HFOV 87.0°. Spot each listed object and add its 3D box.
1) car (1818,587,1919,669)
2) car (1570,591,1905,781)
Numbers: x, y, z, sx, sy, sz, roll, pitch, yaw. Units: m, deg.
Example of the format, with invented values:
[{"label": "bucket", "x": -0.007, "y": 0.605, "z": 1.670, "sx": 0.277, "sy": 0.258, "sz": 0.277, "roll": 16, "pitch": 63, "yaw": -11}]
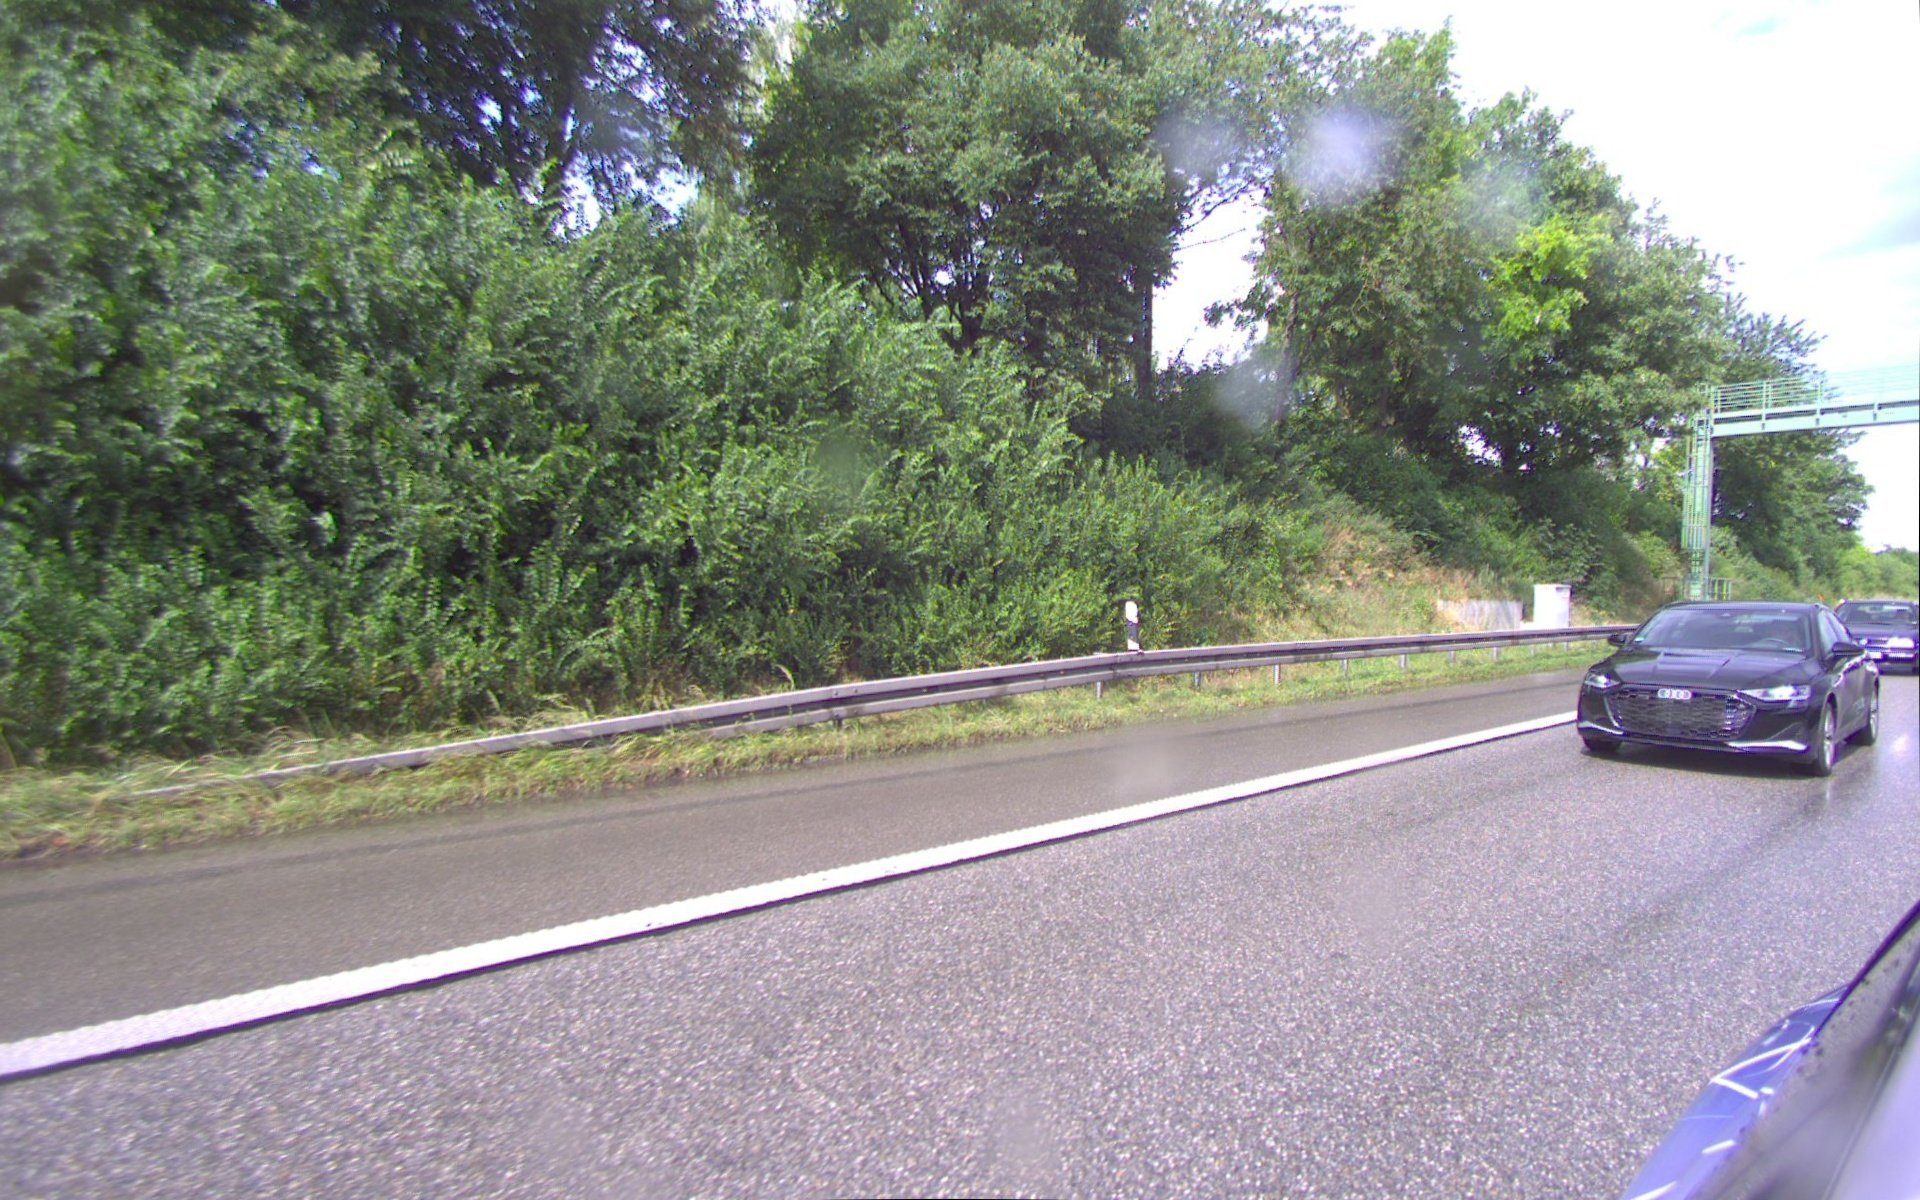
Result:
[{"label": "car", "x": 18.251, "y": 0.476, "z": 19.905, "sx": 3.681, "sy": 1.474, "sz": 1.653, "roll": -1, "pitch": 1, "yaw": -42}, {"label": "car", "x": 7.603, "y": 0.630, "z": 9.734, "sx": 4.292, "sy": 1.414, "sz": 1.758, "roll": -1, "pitch": 1, "yaw": -41}]
